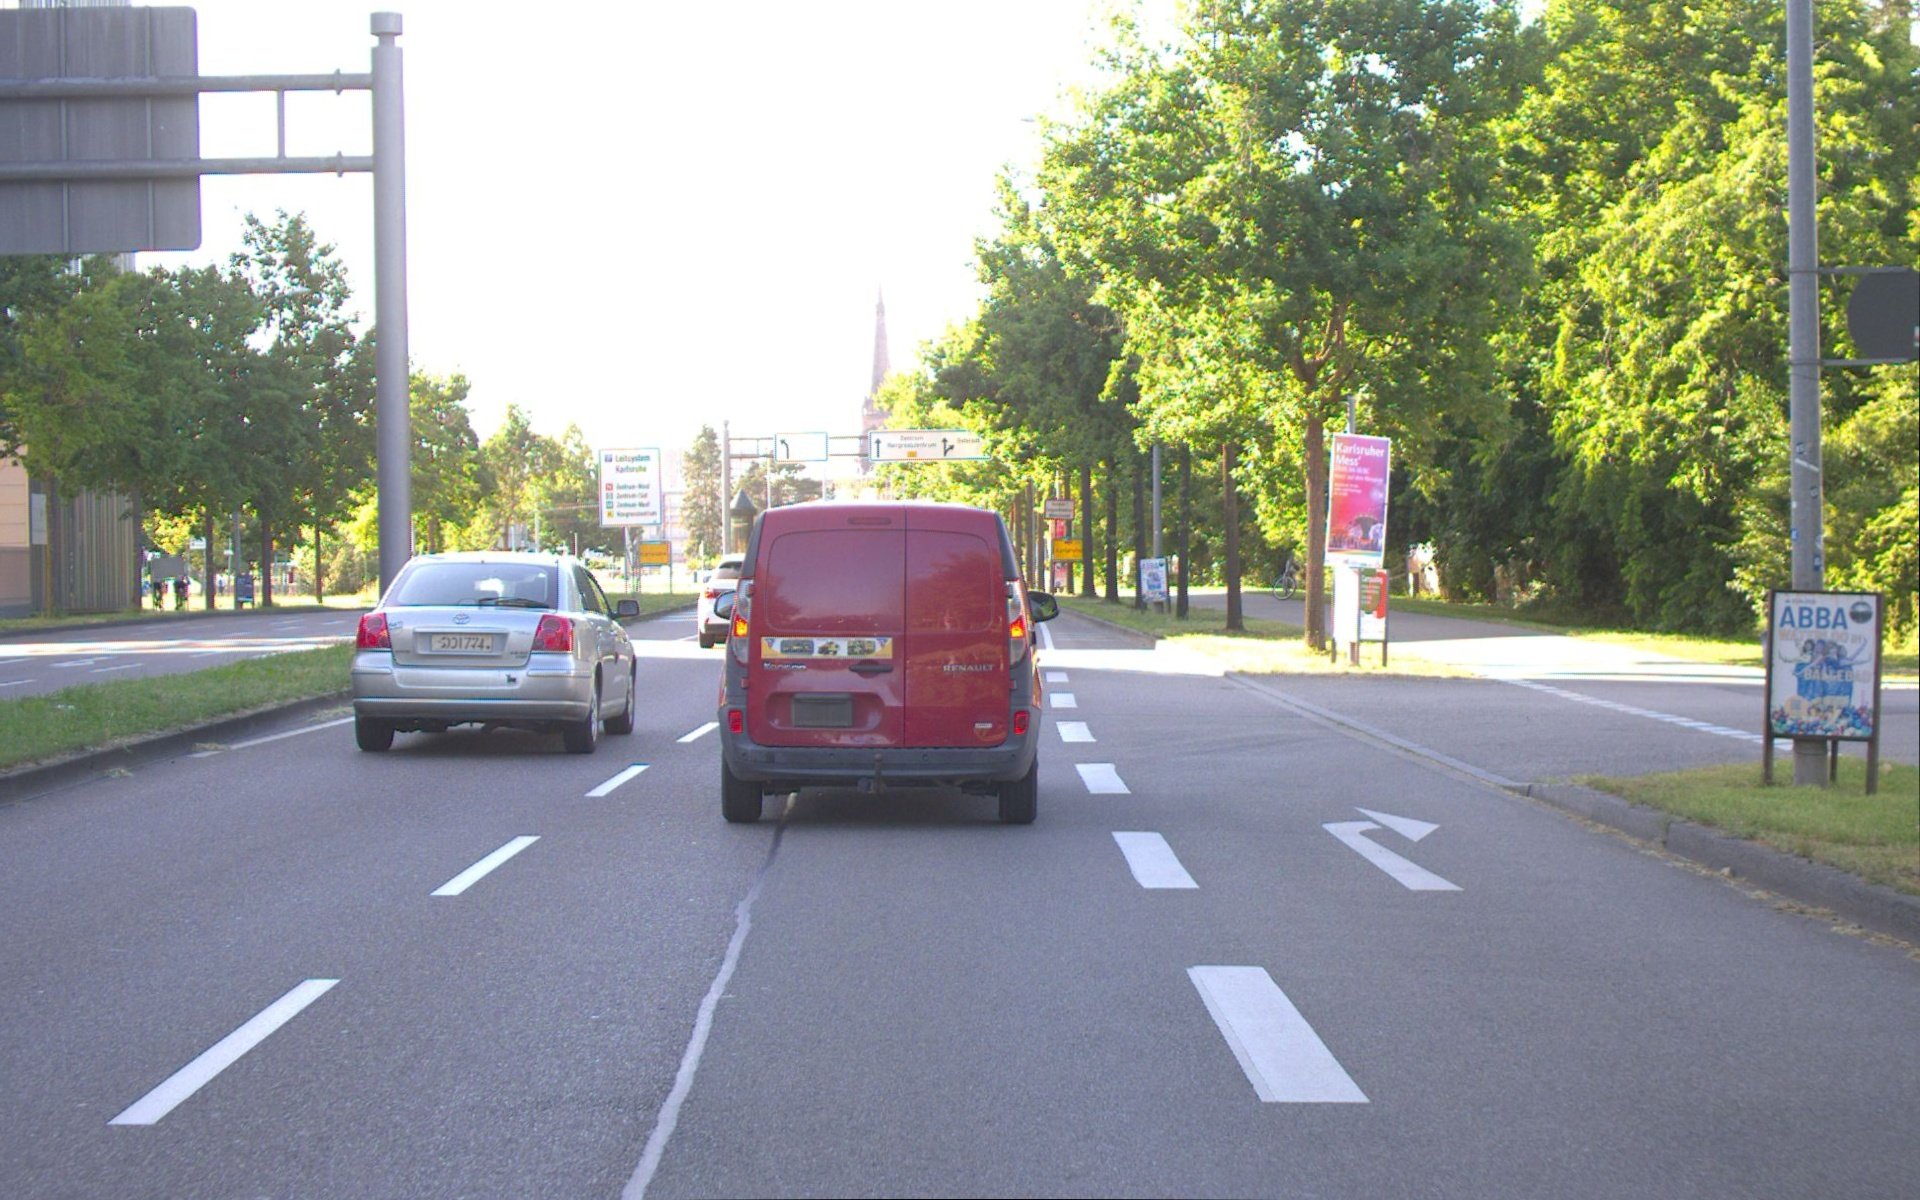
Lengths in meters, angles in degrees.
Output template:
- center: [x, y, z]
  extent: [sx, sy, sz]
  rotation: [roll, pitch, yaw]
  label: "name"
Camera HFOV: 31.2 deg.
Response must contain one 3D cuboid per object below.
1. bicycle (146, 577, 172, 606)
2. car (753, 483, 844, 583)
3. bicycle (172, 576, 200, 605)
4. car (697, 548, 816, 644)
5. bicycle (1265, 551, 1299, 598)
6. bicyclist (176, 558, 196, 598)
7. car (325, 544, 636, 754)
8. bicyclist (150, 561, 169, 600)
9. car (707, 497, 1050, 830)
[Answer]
- center: [-28.315, -0.291, 121.590]
  extent: [0.487, 1.000, 2.096]
  rotation: [-1, 0, -2]
  label: "bicycle"
- center: [-3.073, -1.273, 65.976]
  extent: [1.661, 1.850, 3.559]
  rotation: [-1, 1, -1]
  label: "car"
- center: [-27.346, -0.325, 121.472]
  extent: [0.570, 1.000, 2.096]
  rotation: [-1, 0, -2]
  label: "bicycle"
- center: [-3.060, -0.083, 52.216]
  extent: [1.661, 1.393, 3.559]
  rotation: [-1, 1, -1]
  label: "car"
- center: [7.936, -0.632, 84.643]
  extent: [0.774, 1.127, 1.708]
  rotation: [0, 1, 7]
  label: "bicycle"
- center: [-27.354, -0.777, 121.483]
  extent: [0.562, 1.387, 0.747]
  rotation: [-1, 0, -2]
  label: "bicyclist"
- center: [-3.557, 0.315, 26.184]
  extent: [1.841, 1.451, 4.162]
  rotation: [1, 1, -1]
  label: "car"
- center: [-28.325, -0.693, 121.678]
  extent: [0.482, 1.390, 0.844]
  rotation: [-1, 0, -2]
  label: "bicyclist"
- center: [-0.485, 0.315, 20.260]
  extent: [1.806, 1.753, 4.006]
  rotation: [1, 1, -1]
  label: "car"
